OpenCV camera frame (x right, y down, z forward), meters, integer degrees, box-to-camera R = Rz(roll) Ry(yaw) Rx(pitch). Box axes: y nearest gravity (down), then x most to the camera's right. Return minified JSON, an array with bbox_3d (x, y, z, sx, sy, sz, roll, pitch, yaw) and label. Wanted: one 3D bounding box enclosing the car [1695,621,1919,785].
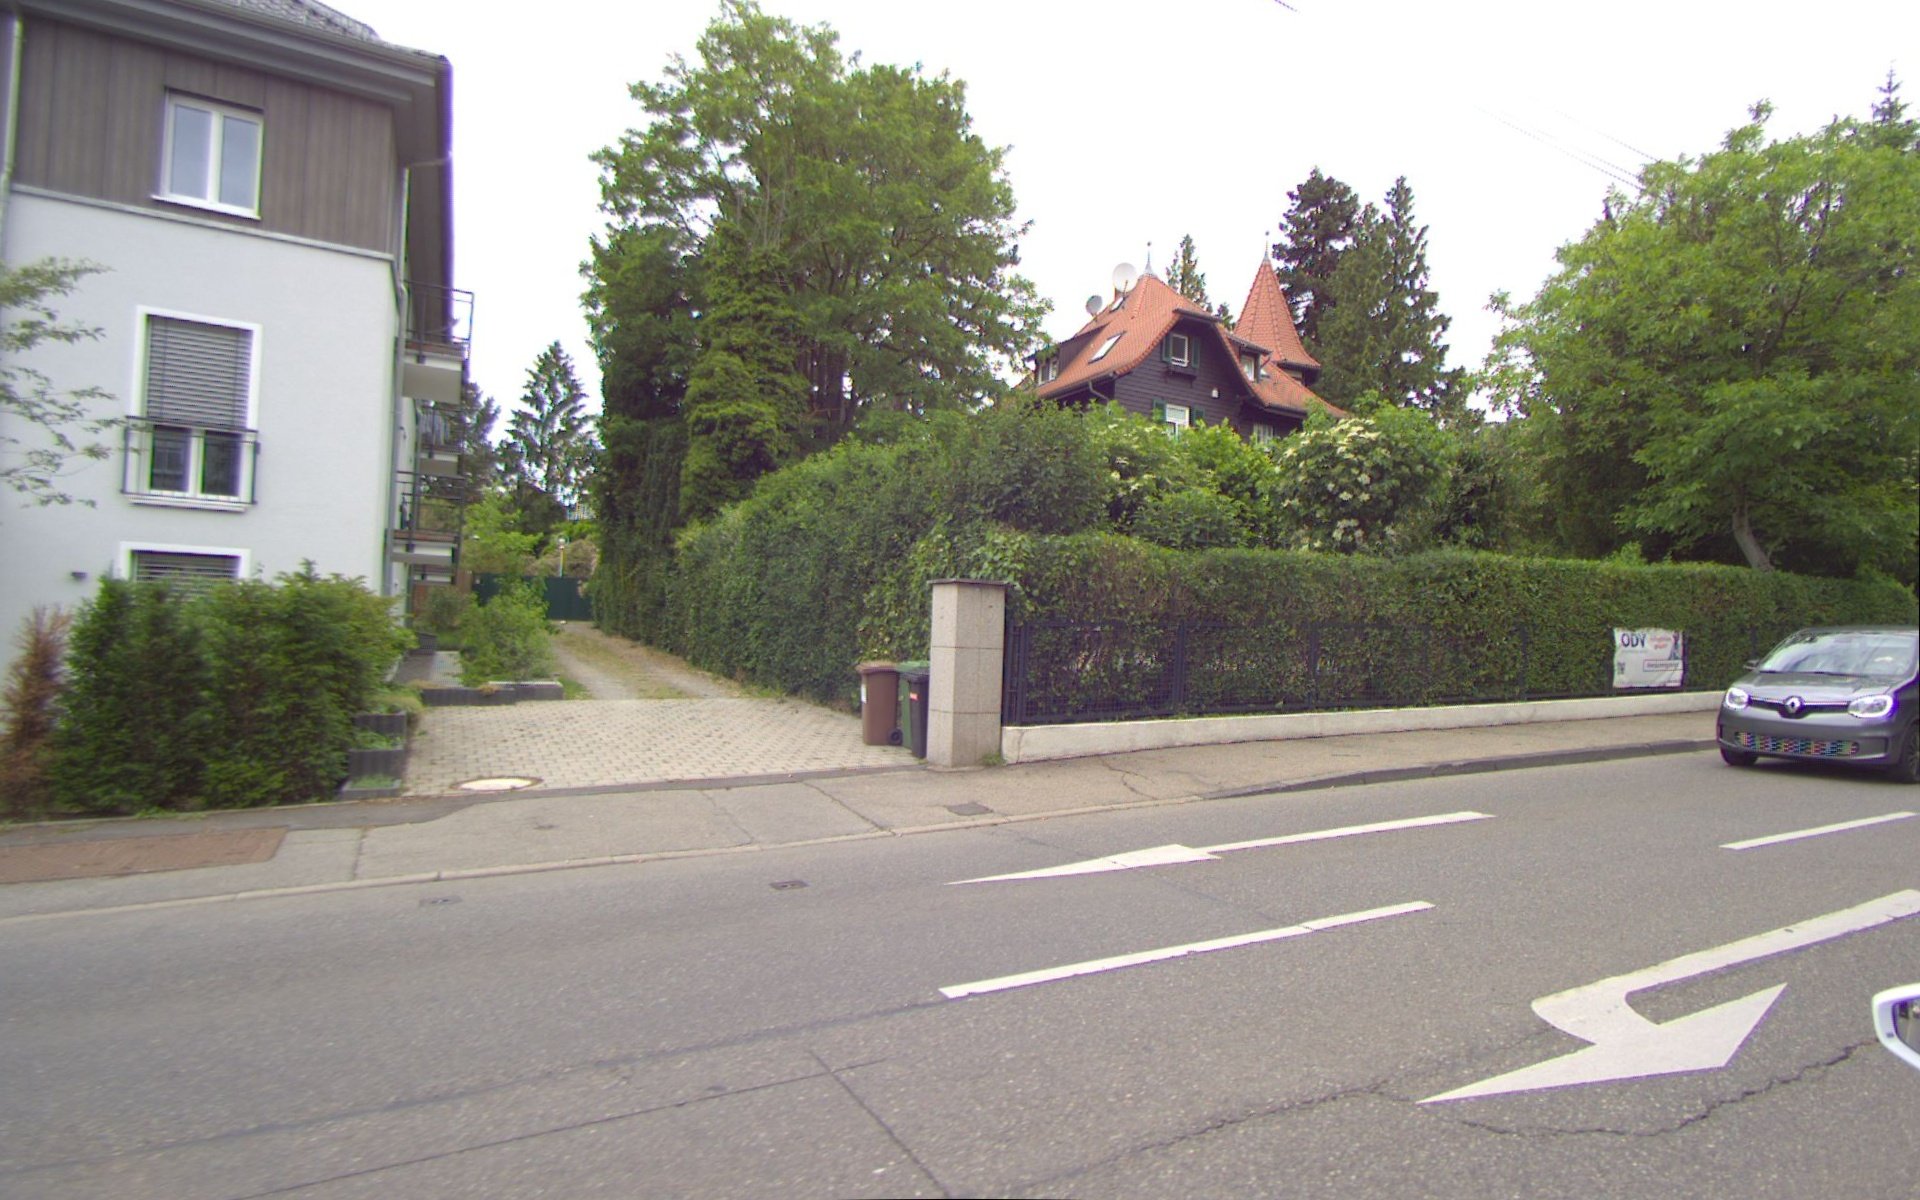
[{"bbox_3d":[9.933,1.006,11.064,3.493,1.539,1.677,1,-1,-29],"label":"car"}]
